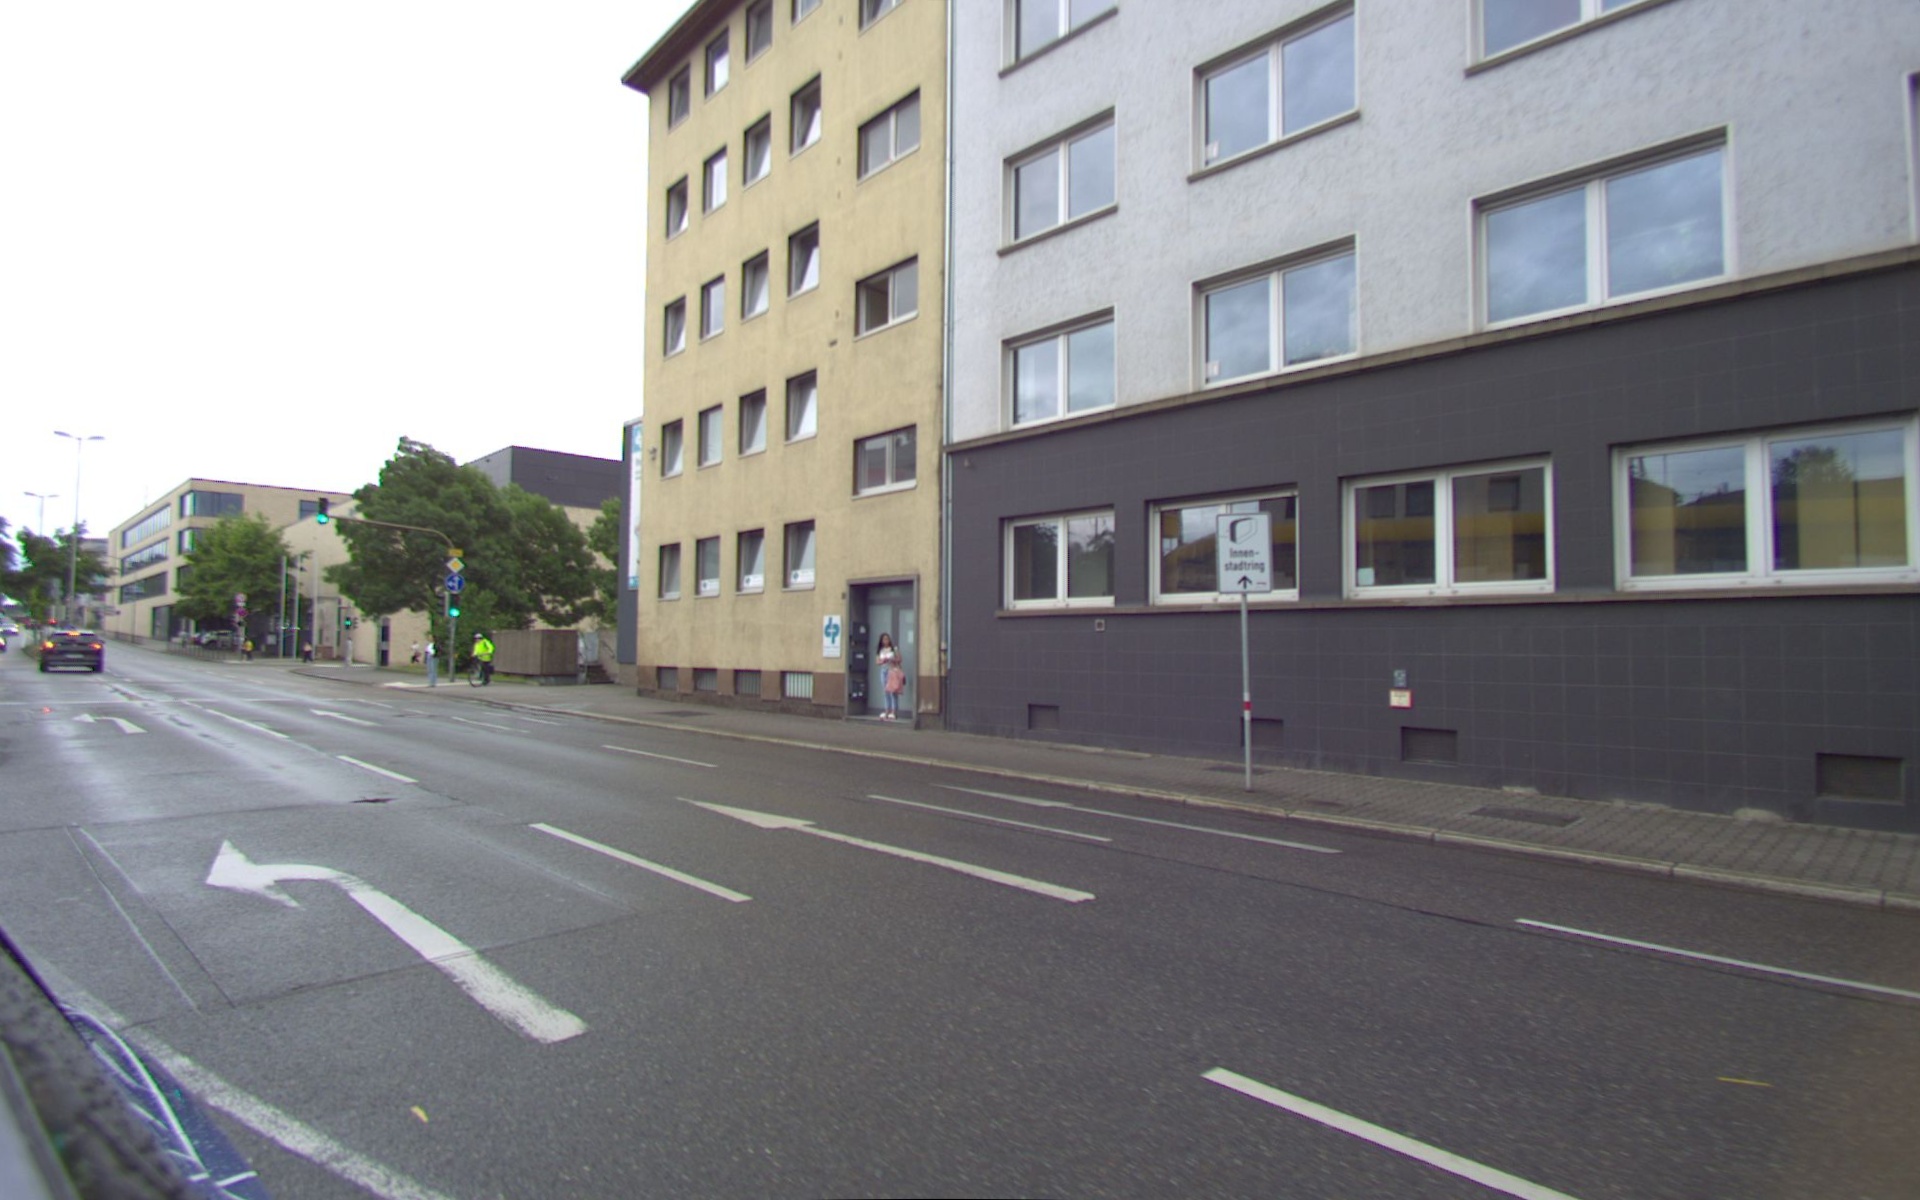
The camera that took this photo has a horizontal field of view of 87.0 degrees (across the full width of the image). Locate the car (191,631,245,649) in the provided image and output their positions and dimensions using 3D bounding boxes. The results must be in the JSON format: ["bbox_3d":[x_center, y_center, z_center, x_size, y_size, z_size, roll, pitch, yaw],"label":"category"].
[{"bbox_3d":[-68.553,3.695,93.498,3.937,1.597,2.003,1,-2,-40],"label":"car"}]

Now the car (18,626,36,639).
[{"bbox_3d":[-150.990,5.265,163.732,4.302,1.866,1.829,-2,-7,44],"label":"car"}]

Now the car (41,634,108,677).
[{"bbox_3d":[-34.504,2.150,39.406,1.786,1.607,4.299,4,-4,-43],"label":"car"}]

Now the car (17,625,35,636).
[{"bbox_3d":[-135.579,4.496,146.902,4.302,1.481,1.652,-2,-6,44],"label":"car"}]

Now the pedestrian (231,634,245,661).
[{"bbox_3d":[-47.968,3.143,67.272,0.692,1.744,0.588,-2,-3,41],"label":"pedestrian"}]

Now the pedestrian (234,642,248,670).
[{"bbox_3d":[-46.193,3.567,64.996,0.587,1.785,0.692,2,-3,-45],"label":"pedestrian"}]

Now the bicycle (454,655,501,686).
[{"bbox_3d":[-15.549,2.262,32.592,0.874,0.914,1.869,1,-2,-42],"label":"bicycle"}]

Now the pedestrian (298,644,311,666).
[{"bbox_3d":[-41.805,3.530,64.544,0.613,1.386,0.475,2,-3,-43],"label":"pedestrian"}]

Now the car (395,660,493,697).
[{"bbox_3d":[-31.035,4.739,60.986,2.000,1.940,4.724,-2,-8,43],"label":"car"}]

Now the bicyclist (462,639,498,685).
[{"bbox_3d":[-15.445,1.975,32.541,0.832,1.453,0.813,1,-3,-42],"label":"bicyclist"}]

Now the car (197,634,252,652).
[{"bbox_3d":[-66.624,3.896,91.710,3.937,1.597,2.003,1,-2,-40],"label":"car"}]

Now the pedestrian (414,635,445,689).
[{"bbox_3d":[-17.170,1.992,32.741,0.708,1.702,0.812,1,-3,-42],"label":"pedestrian"}]

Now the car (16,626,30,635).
[{"bbox_3d":[-173.536,5.674,187.440,4.302,1.620,1.652,-2,-7,44],"label":"car"}]

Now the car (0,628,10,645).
[{"bbox_3d":[-108.817,4.128,114.333,4.001,1.796,1.971,-2,-3,44],"label":"car"}]

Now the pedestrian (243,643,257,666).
[{"bbox_3d":[-46.549,3.569,66.349,0.587,1.528,0.692,2,-3,-45],"label":"pedestrian"}]

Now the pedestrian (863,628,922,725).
[{"bbox_3d":[-1.226,1.366,18.317,0.708,1.702,0.812,1,-3,-42],"label":"pedestrian"}]
